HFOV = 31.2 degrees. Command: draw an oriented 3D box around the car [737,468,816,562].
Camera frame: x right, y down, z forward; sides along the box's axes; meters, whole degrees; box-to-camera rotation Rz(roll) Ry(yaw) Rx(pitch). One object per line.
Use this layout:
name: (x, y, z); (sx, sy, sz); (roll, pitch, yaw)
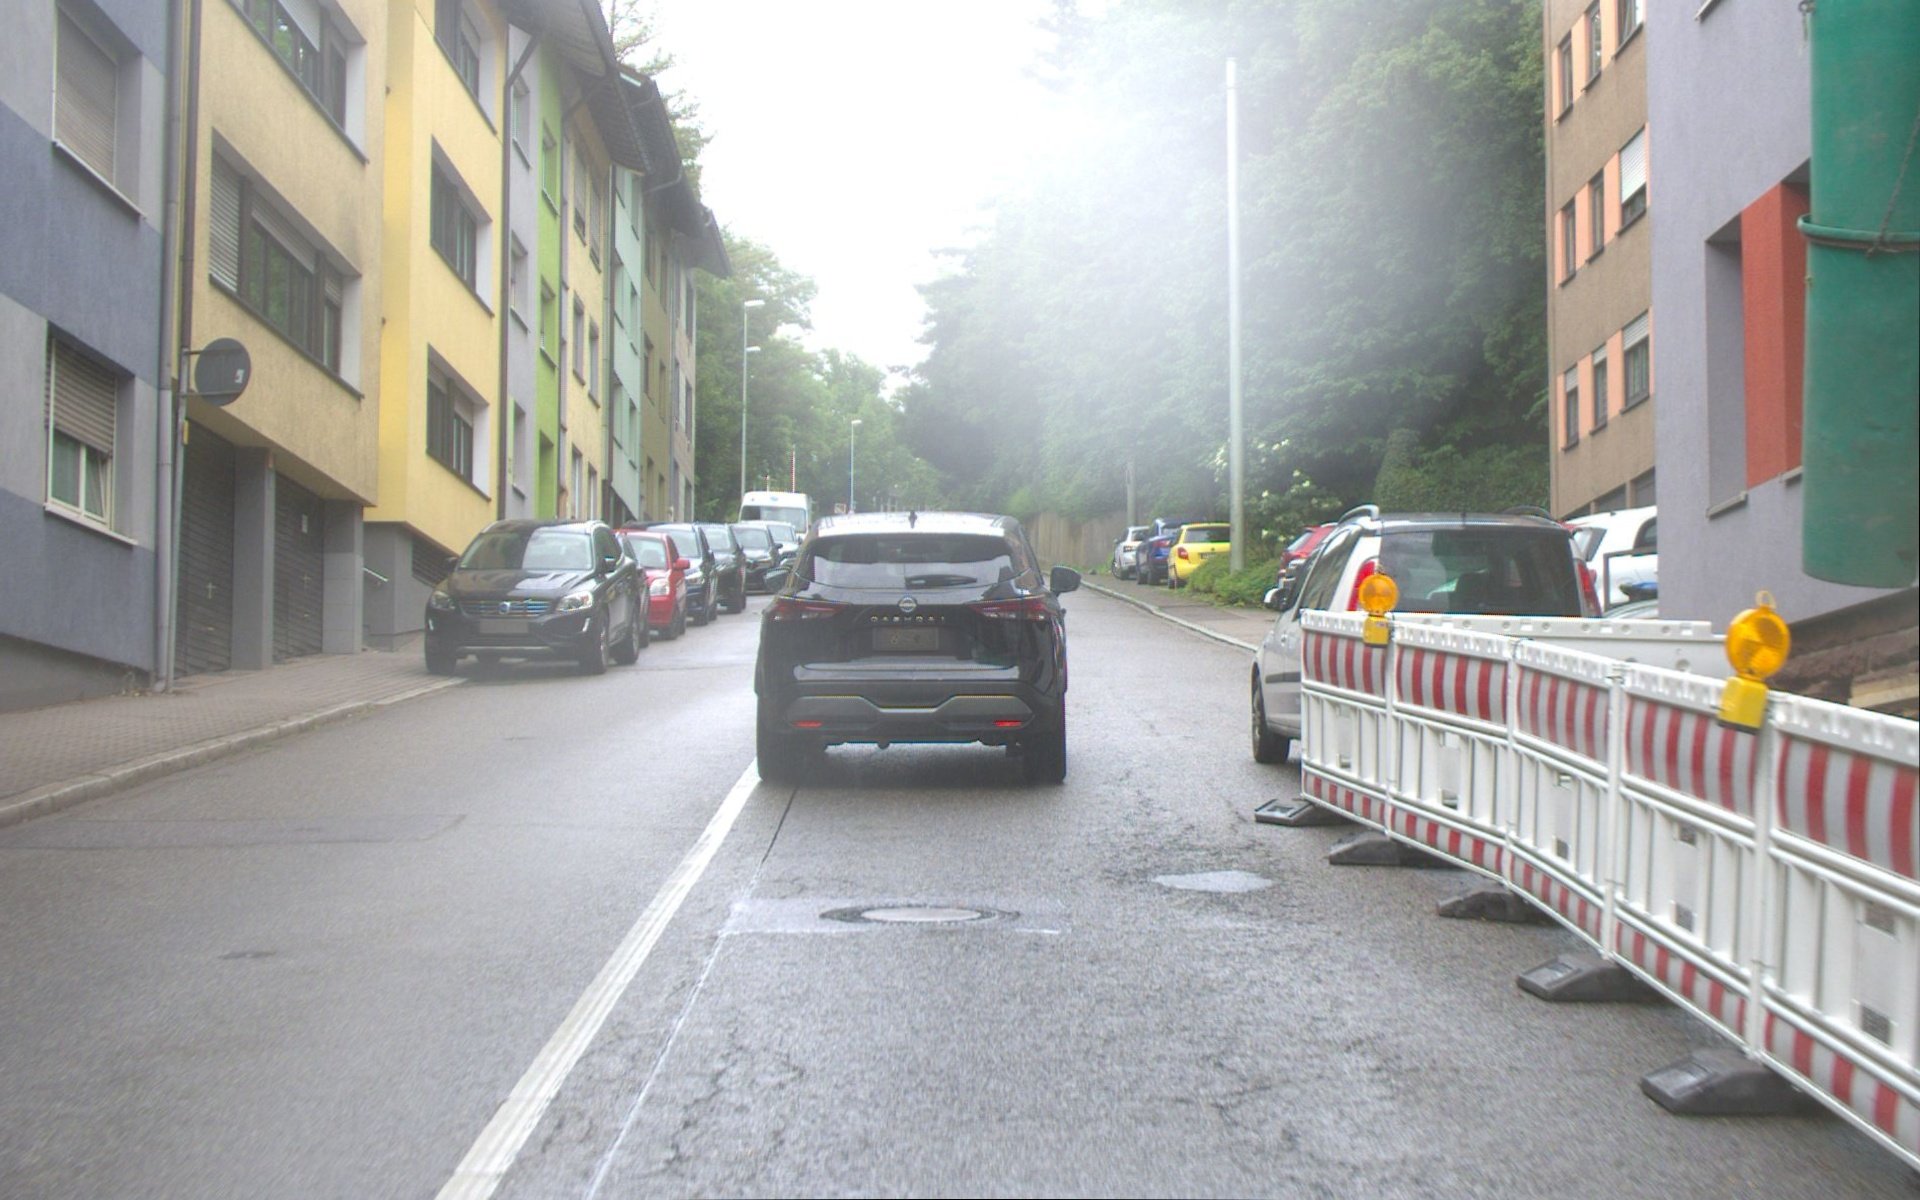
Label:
car: (-4.938, -2.321, 93.113); (1.990, 2.466, 5.785); (0, 2, -2)

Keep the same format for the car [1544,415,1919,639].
car: (7.587, -0.718, 31.996); (3.826, 1.696, 1.729); (-6, 2, -2)

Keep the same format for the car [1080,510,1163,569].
car: (4.455, -1.697, 95.473); (1.810, 1.525, 4.418); (-2, 1, -3)

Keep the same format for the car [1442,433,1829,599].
car: (7.750, -0.970, 39.631); (3.961, 1.524, 1.693); (-5, 2, -4)

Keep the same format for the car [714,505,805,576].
car: (-4.632, -1.402, 79.967); (1.990, 1.579, 4.306); (0, 2, -2)

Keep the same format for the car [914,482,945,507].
car: (-2.117, -7.307, 237.620); (1.993, 1.554, 4.000); (-1, 0, 1)

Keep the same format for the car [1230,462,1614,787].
car: (2.718, 0.062, 21.057); (1.640, 1.756, 4.001); (2, 2, -2)

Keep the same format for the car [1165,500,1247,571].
car: (5.539, -1.475, 77.757); (1.633, 1.524, 4.000); (1, 2, 2)

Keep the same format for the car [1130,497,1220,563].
car: (5.268, -1.740, 84.718); (1.811, 1.525, 4.418); (-2, 1, -1)

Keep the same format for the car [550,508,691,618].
car: (-4.736, -0.542, 48.325); (1.728, 1.467, 3.492); (0, 2, -2)

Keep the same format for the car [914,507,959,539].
car: (-1.226, -3.966, 176.673); (2.074, 1.554, 4.001); (1, 2, -4)

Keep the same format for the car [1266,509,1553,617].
car: (7.079, -0.601, 54.387); (4.197, 1.491, 1.760); (3, 1, -3)

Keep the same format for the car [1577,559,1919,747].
car: (7.440, 0.409, 28.526); (4.267, 1.461, 1.894); (0, 2, -2)

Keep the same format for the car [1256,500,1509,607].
car: (7.625, -0.850, 62.286); (4.197, 1.728, 1.760); (3, 1, -4)

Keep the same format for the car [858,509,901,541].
car: (-4.069, -3.789, 172.920); (2.074, 1.554, 4.001); (1, 2, -2)

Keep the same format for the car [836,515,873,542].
car: (-6.065, -4.114, 197.465); (2.074, 1.554, 4.001); (1, 2, -2)

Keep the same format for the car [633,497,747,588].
car: (-4.870, -1.079, 62.409); (1.853, 1.579, 4.306); (0, 2, -2)

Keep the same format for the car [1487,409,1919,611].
car: (7.753, -0.930, 34.920); (4.341, 1.524, 1.877); (-7, 2, -1)

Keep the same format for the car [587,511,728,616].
car: (-4.808, -0.623, 55.123); (1.993, 1.579, 4.472); (0, 2, -2)

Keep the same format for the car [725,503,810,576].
car: (-4.786, -1.535, 85.956); (1.990, 1.749, 4.481); (0, 2, -2)

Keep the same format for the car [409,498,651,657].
car: (-4.677, -0.299, 38.026); (1.993, 1.644, 4.442); (0, 2, 2)

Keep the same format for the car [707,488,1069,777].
car: (-0.430, 0.119, 21.313); (1.993, 1.554, 4.001); (1, 2, -1)
